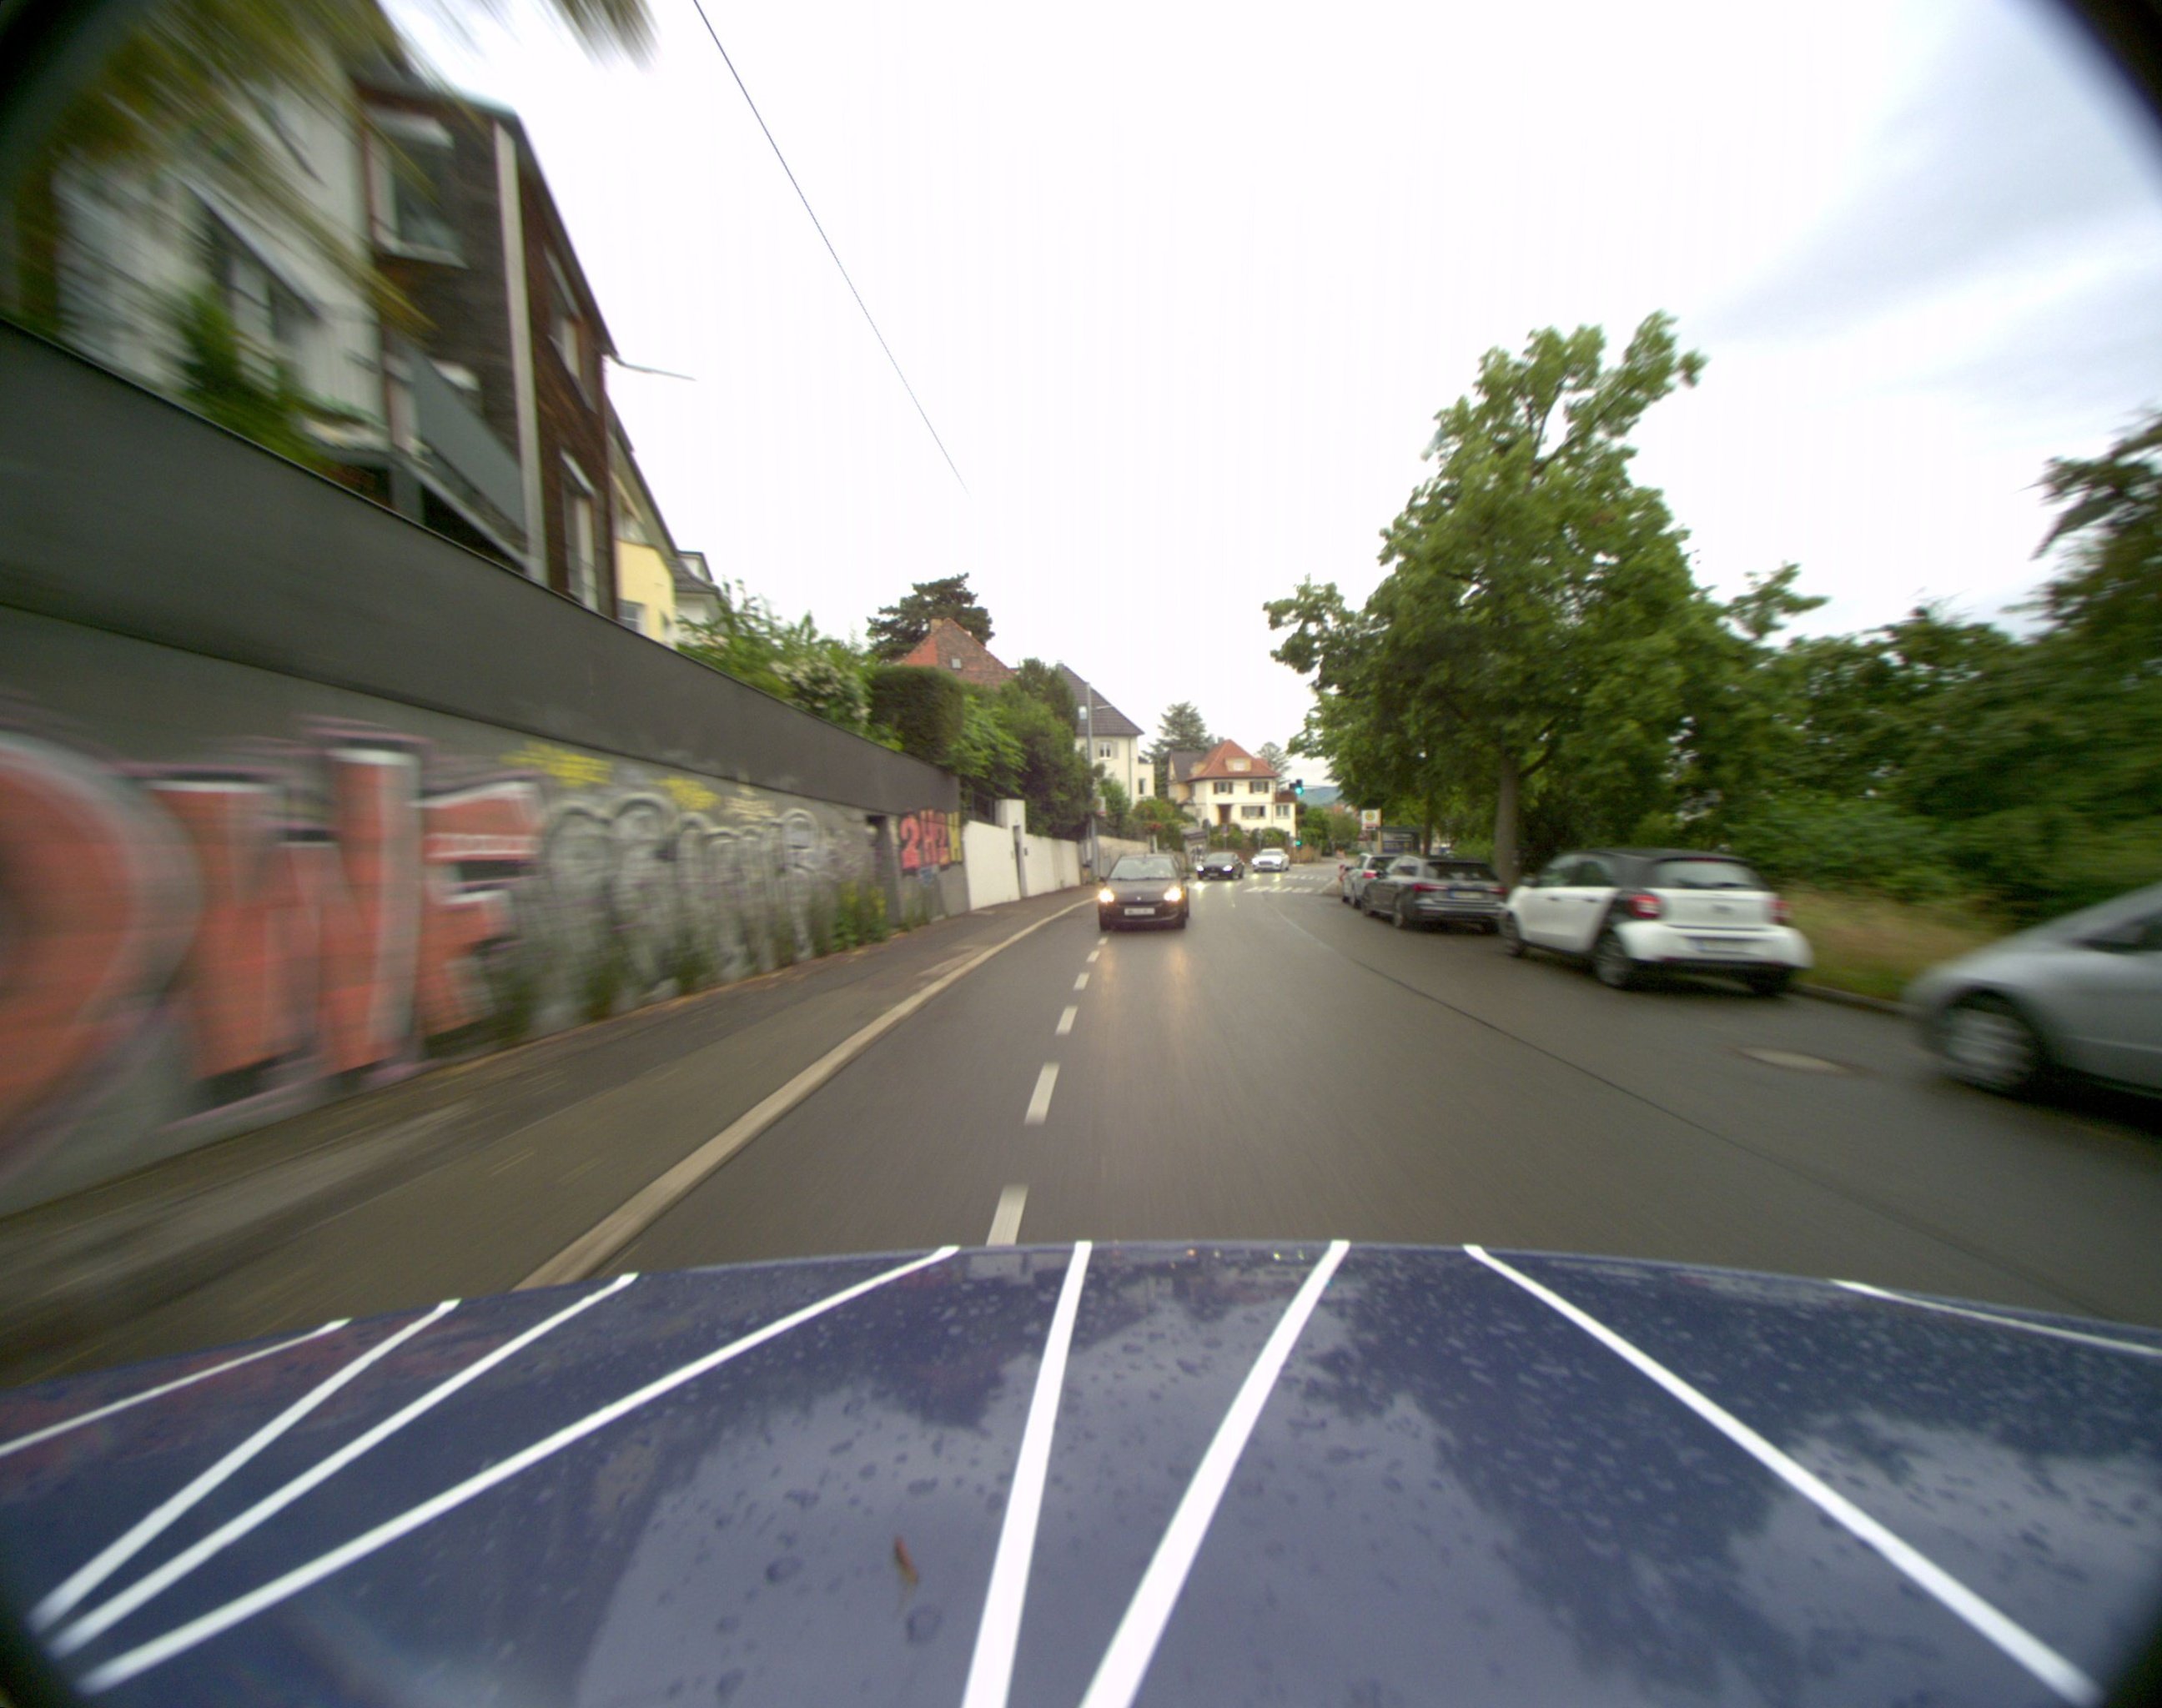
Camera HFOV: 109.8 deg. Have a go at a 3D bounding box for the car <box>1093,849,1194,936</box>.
[{"bbox_3d":[1.217,0.699,16.173,1.804,1.419,4.382,-2,2,2],"label":"car"}]

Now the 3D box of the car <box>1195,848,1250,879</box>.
[{"bbox_3d":[7.509,0.470,40.041,2.027,1.454,4.006,-1,1,23],"label":"car"}]

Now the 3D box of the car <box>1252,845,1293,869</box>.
[{"bbox_3d":[13.819,0.197,54.662,2.027,1.619,4.235,-1,1,26],"label":"car"}]

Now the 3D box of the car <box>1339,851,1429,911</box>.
[{"bbox_3d":[8.060,0.676,20.549,1.657,1.421,4.380,1,0,14],"label":"car"}]

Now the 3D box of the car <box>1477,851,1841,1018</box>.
[{"bbox_3d":[6.682,0.768,9.476,1.686,1.501,4.208,2,1,7],"label":"car"}]

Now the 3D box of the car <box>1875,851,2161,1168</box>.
[{"bbox_3d":[6.200,0.816,3.202,1.688,1.544,3.766,2,1,0],"label":"car"}]

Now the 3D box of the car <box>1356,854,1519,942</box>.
[{"bbox_3d":[6.910,0.746,15.253,1.686,1.372,4.503,2,1,8],"label":"car"}]
